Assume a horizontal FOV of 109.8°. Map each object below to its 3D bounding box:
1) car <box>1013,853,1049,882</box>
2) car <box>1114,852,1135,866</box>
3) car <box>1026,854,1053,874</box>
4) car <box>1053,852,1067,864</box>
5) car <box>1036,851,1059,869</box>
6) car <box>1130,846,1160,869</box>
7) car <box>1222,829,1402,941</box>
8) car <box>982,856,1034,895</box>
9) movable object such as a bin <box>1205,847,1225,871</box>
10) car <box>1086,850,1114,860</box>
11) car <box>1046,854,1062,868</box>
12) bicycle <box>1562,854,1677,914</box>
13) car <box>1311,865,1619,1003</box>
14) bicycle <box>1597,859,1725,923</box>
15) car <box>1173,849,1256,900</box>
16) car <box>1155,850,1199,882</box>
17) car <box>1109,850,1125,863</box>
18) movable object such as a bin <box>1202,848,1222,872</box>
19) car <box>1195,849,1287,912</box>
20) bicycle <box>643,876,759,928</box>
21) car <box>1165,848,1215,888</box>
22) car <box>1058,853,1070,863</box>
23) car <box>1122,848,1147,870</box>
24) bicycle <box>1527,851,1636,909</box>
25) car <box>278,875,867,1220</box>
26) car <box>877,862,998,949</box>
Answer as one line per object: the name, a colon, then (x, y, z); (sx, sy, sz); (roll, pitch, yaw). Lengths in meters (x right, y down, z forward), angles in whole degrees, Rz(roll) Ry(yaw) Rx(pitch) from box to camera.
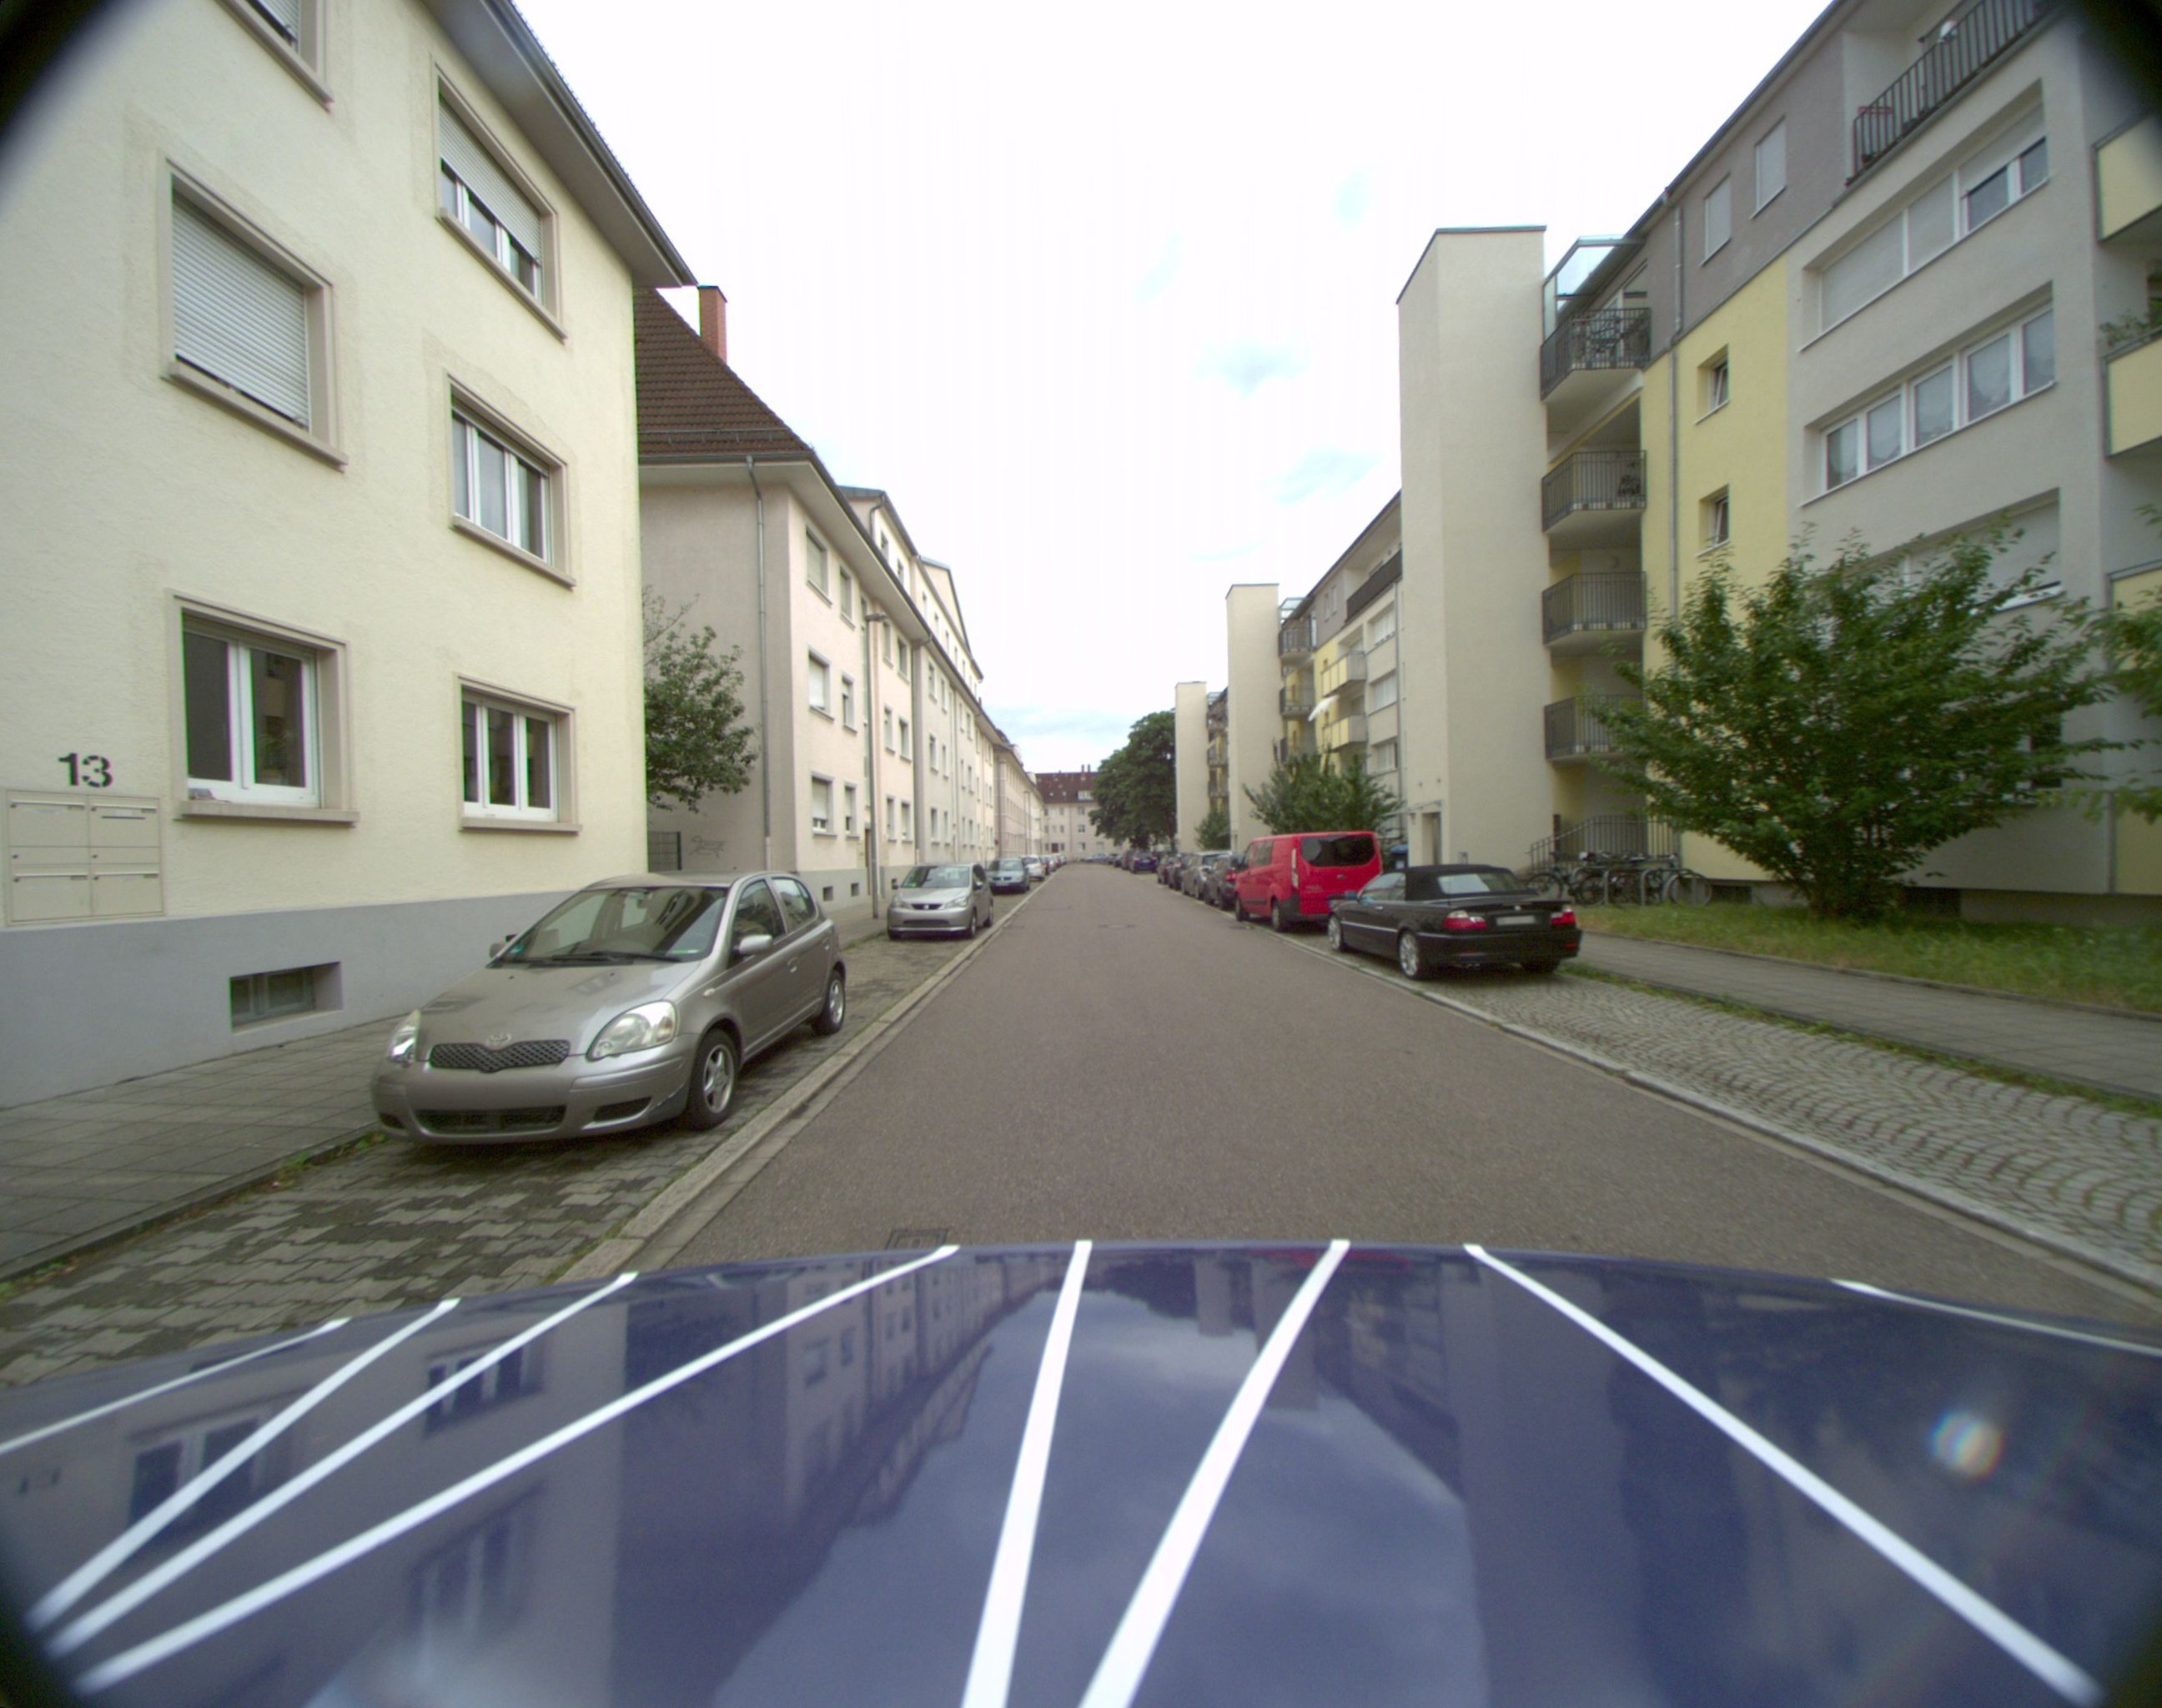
car: (-2.873, 0.751, 44.337); (1.788, 1.590, 3.804); (-1, 0, 1)
car: (4.790, 0.561, 83.874); (1.919, 1.431, 4.433); (-3, 0, -1)
car: (-3.033, 0.733, 56.246); (1.758, 1.401, 3.936); (-1, 0, 0)
car: (-2.820, 0.518, 101.574); (1.764, 1.595, 3.956); (-1, 0, 0)
car: (-2.887, 0.515, 66.197); (1.792, 1.455, 4.039); (-1, 0, 0)
car: (4.723, 0.242, 56.485); (1.804, 1.617, 4.471); (-2, 0, 0)
car: (4.699, 0.550, 16.393); (2.157, 1.942, 4.920); (-3, 0, -2)
car: (-2.975, 0.826, 31.616); (1.729, 1.460, 4.263); (-1, 0, 0)
movable object such as a bin: (8.280, 0.277, 46.991); (1.004, 1.438, 1.314); (-2, 1, 1)
car: (3.174, 0.174, 126.678); (4.546, 1.551, 1.565); (-1, 1, 4)
car: (-3.011, 0.758, 85.289); (1.758, 1.477, 3.773); (0, 0, 0)
bicycle: (10.603, 0.579, 14.990); (1.839, 1.112, 0.570); (-1, 1, 2)
car: (4.802, 0.886, 10.358); (1.875, 1.316, 4.361); (-2, 0, -1)
bicycle: (10.659, 0.676, 14.016); (1.838, 1.112, 0.570); (-1, 1, 6)
car: (4.615, 0.642, 26.989); (1.839, 1.561, 4.860); (-3, 0, -2)
car: (4.786, 0.559, 38.399); (1.647, 1.430, 3.856); (-3, 0, 0)
car: (4.900, 0.351, 103.436); (2.000, 1.566, 4.209); (-3, 0, 0)
movable object such as a bin: (8.310, 0.385, 48.334); (1.004, 1.492, 1.314); (-2, 1, 1)
car: (4.511, 0.691, 21.968); (1.725, 1.561, 4.053); (-3, 0, 0)
bicycle: (-8.463, 1.060, 16.969); (2.213, 1.070, 0.648); (-1, 1, -1)
car: (4.650, 0.558, 32.790); (1.657, 1.521, 3.895); (-3, 0, 2)
car: (-2.507, 0.565, 112.733); (1.563, 1.334, 3.788); (-1, 0, 0)
car: (4.799, 0.437, 68.846); (1.891, 1.844, 4.785); (-1, 0, -1)
bicycle: (10.299, 0.532, 15.662); (1.839, 1.112, 0.604); (-2, 1, -1)
car: (-3.018, 0.993, 5.708); (1.729, 1.508, 4.060); (-1, 0, -1)
car: (-2.822, 0.951, 15.801); (1.729, 1.483, 4.060); (-1, 0, 0)
